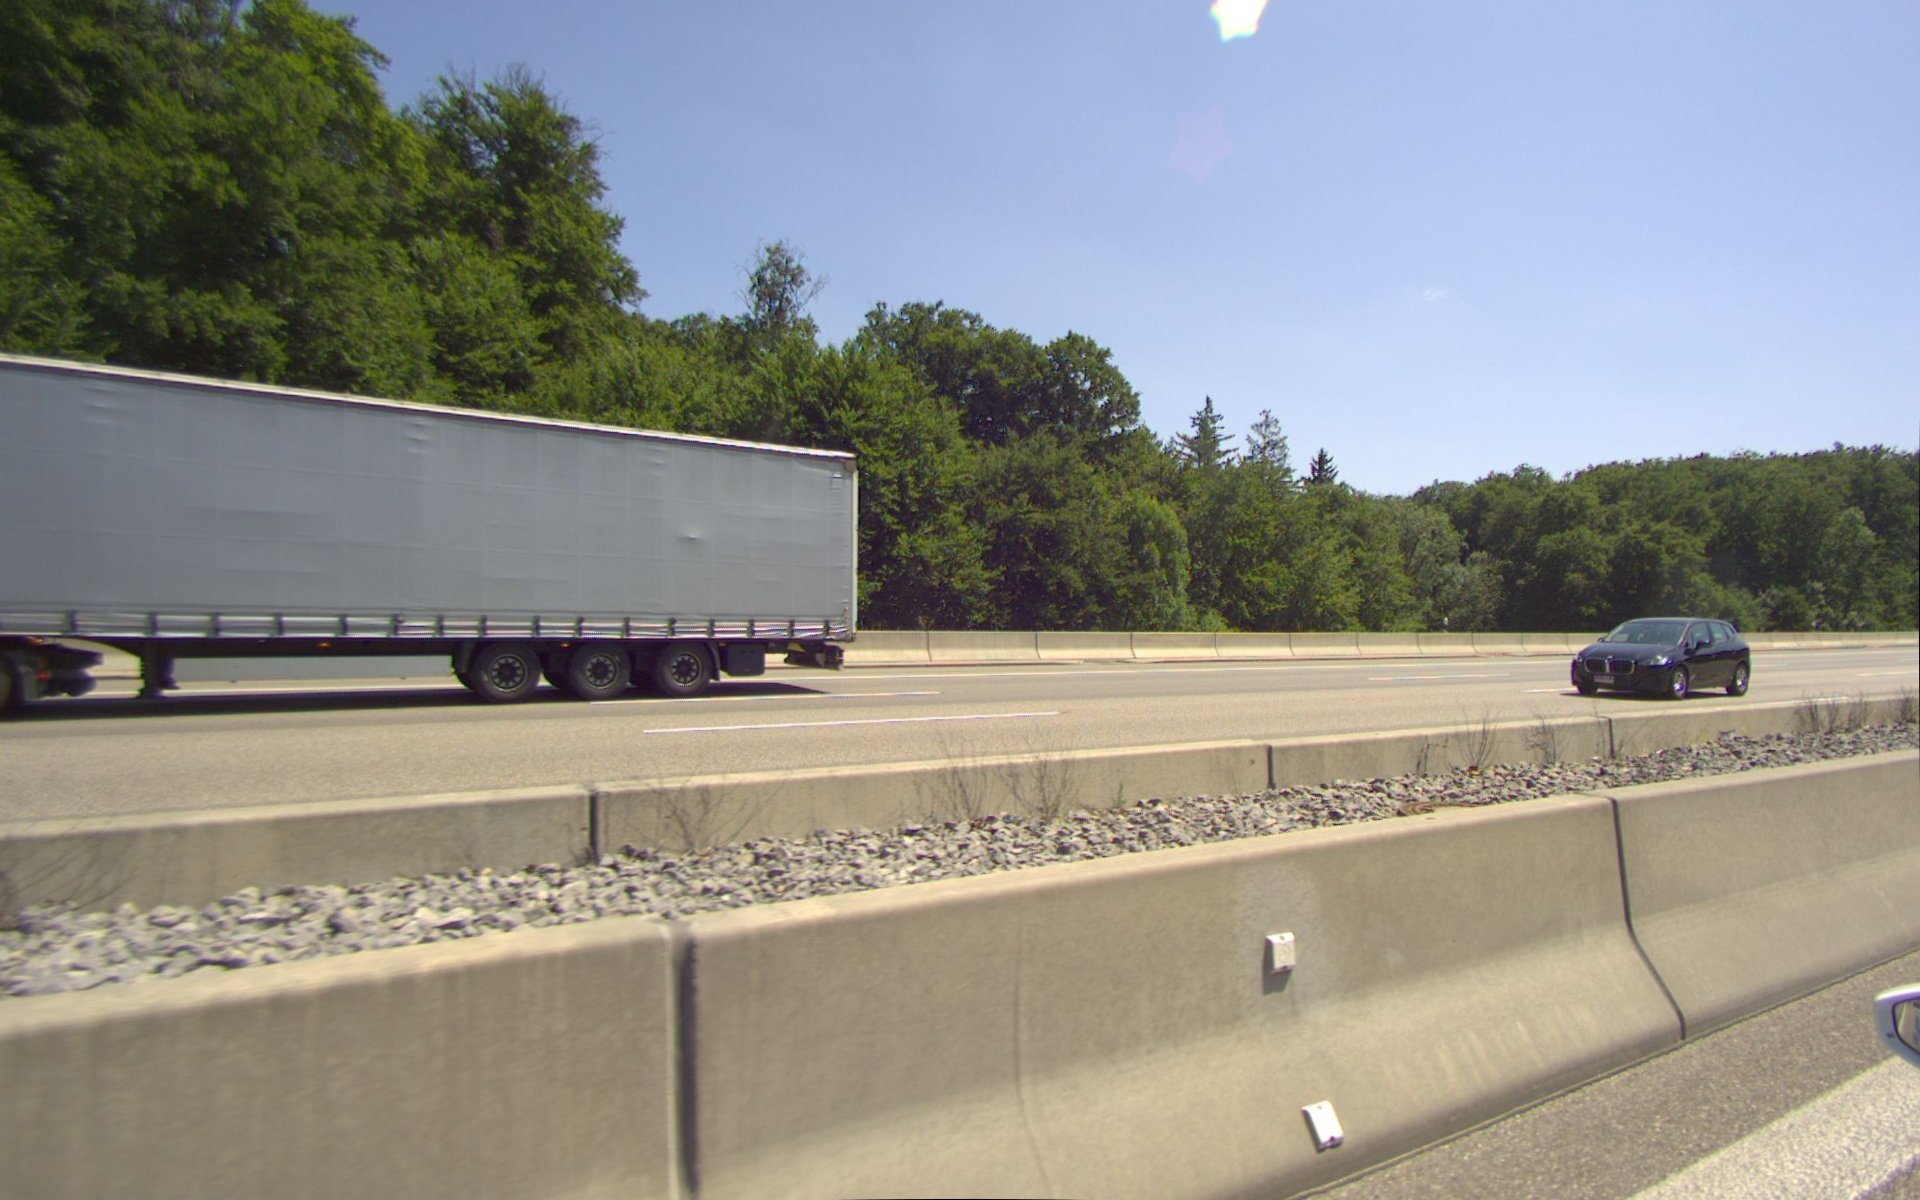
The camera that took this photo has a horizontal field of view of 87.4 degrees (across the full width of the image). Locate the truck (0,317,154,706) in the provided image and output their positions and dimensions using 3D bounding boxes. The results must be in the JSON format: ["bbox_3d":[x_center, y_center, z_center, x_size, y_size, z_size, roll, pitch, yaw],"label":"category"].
[{"bbox_3d":[-13.285,-1.045,11.193,6.387,4.347,2.858,2,-1,-35],"label":"truck"}]

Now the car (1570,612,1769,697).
[{"bbox_3d":[14.512,1.067,20.487,4.312,1.540,1.752,1,-1,-31],"label":"car"}]

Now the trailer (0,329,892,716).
[{"bbox_3d":[-7.747,-0.753,14.944,13.813,4.319,2.847,2,-1,-34],"label":"trailer"}]
